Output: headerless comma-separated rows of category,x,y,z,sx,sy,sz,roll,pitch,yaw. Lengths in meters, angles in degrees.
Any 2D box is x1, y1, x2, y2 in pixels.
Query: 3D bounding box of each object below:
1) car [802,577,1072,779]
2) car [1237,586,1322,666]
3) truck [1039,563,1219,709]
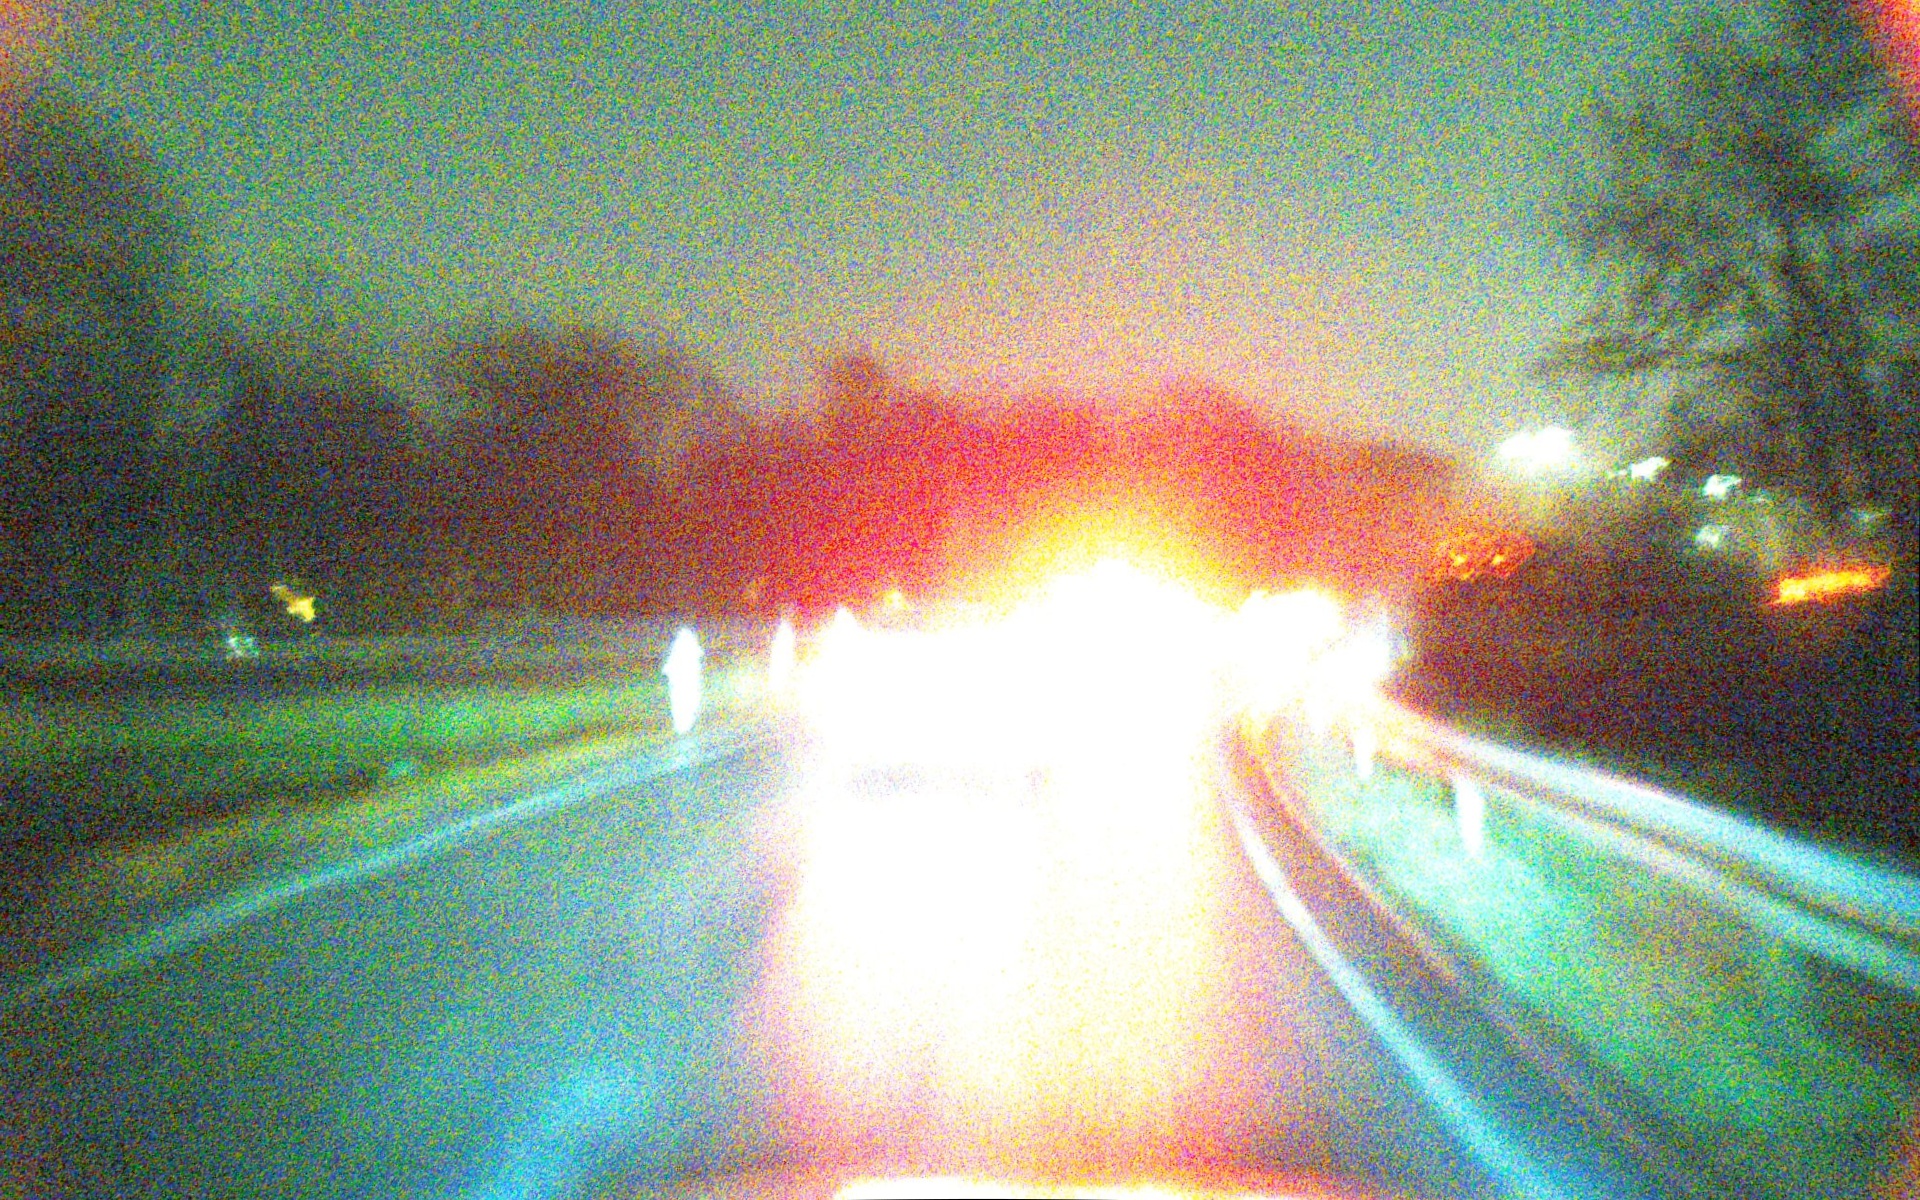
car,-0.062,0.601,14.537,1.903,1.517,3.718,-1,0,6
car,8.344,0.642,42.939,1.797,1.982,4.002,0,0,16
truck,3.163,0.637,32.881,3.006,2.572,7.168,0,0,1
